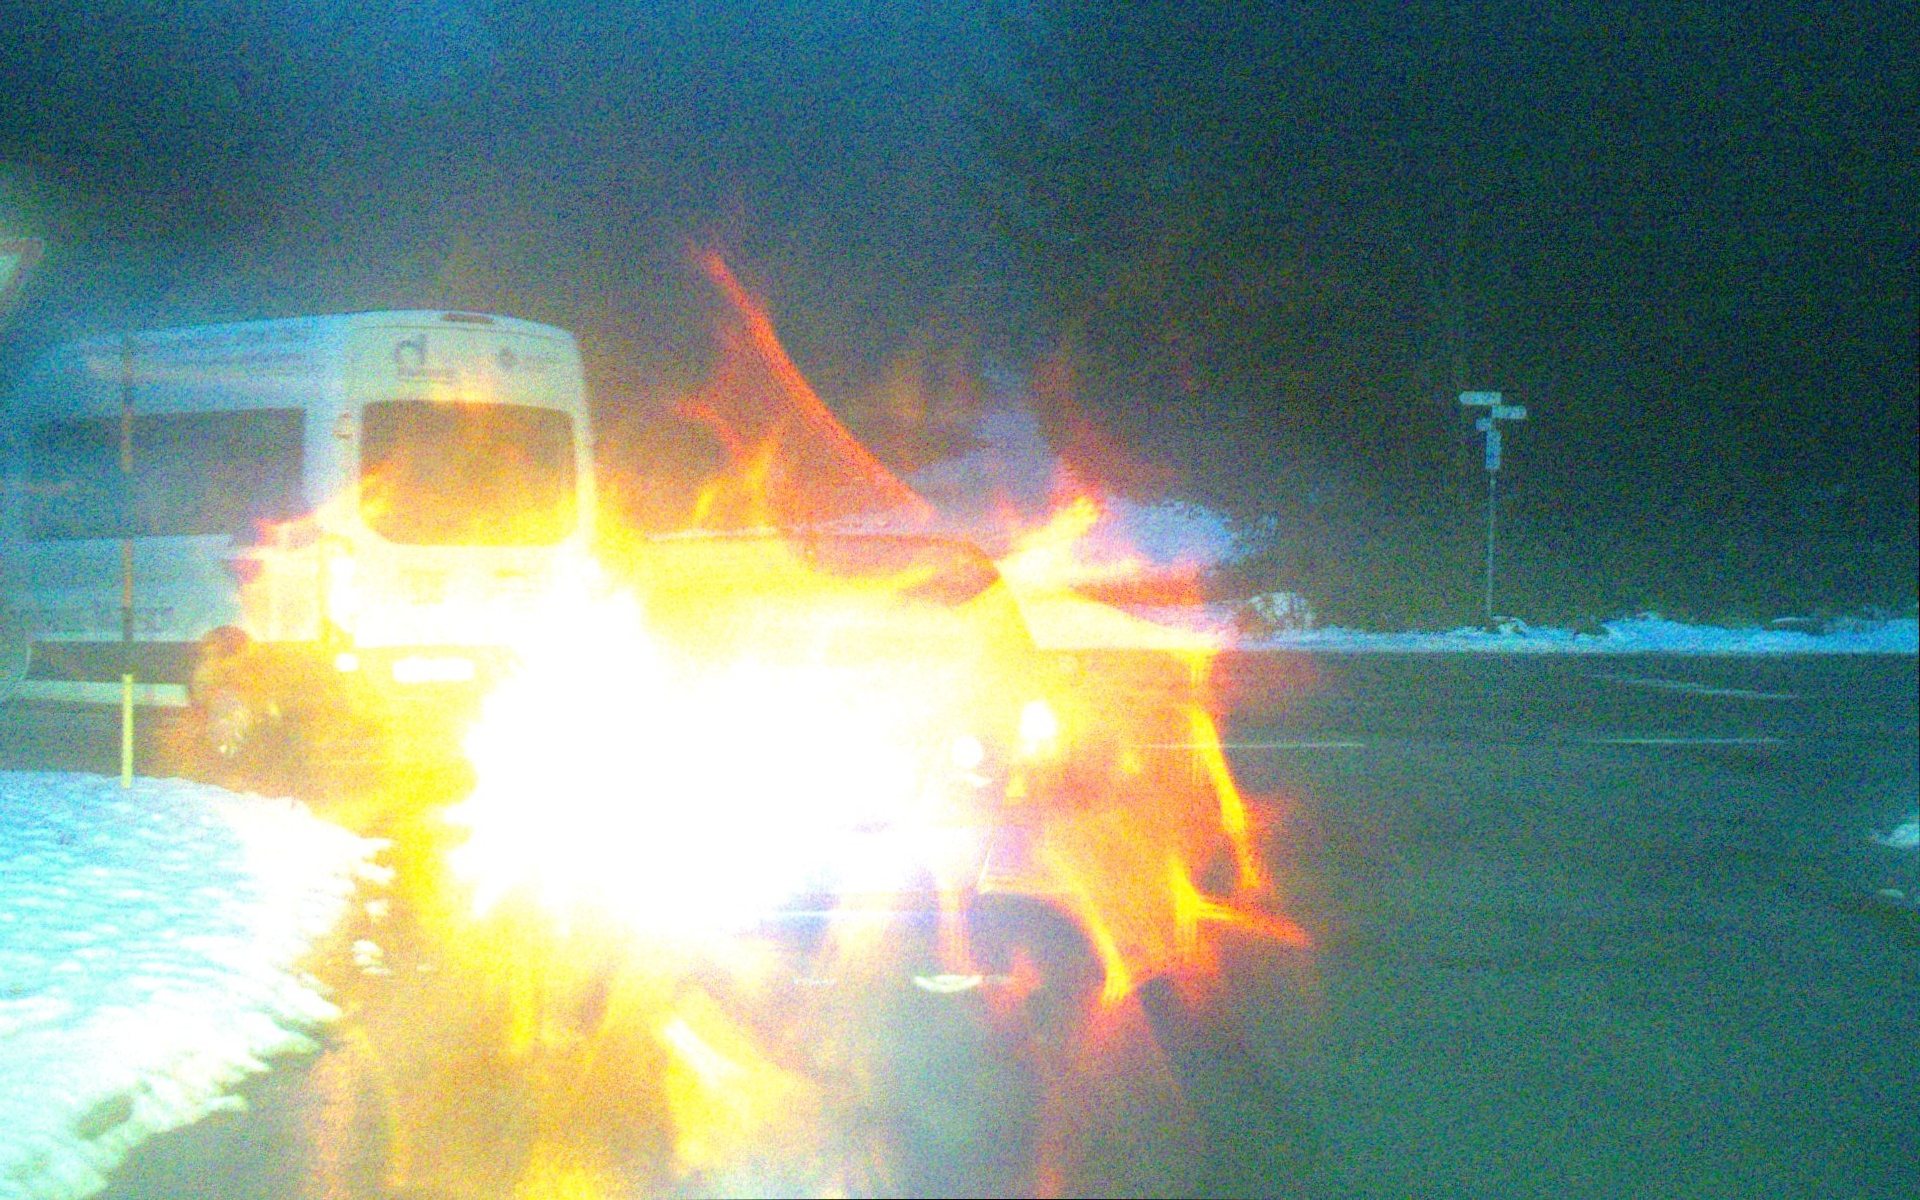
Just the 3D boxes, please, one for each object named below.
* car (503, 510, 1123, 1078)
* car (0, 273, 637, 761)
[{"bbox_3d":[-0.429,0.488,11.427,1.692,1.547,3.856,1,1,-1],"label":"car"},{"bbox_3d":[-4.637,-0.498,21.667,2.147,2.686,5.526,1,0,-44],"label":"car"}]
